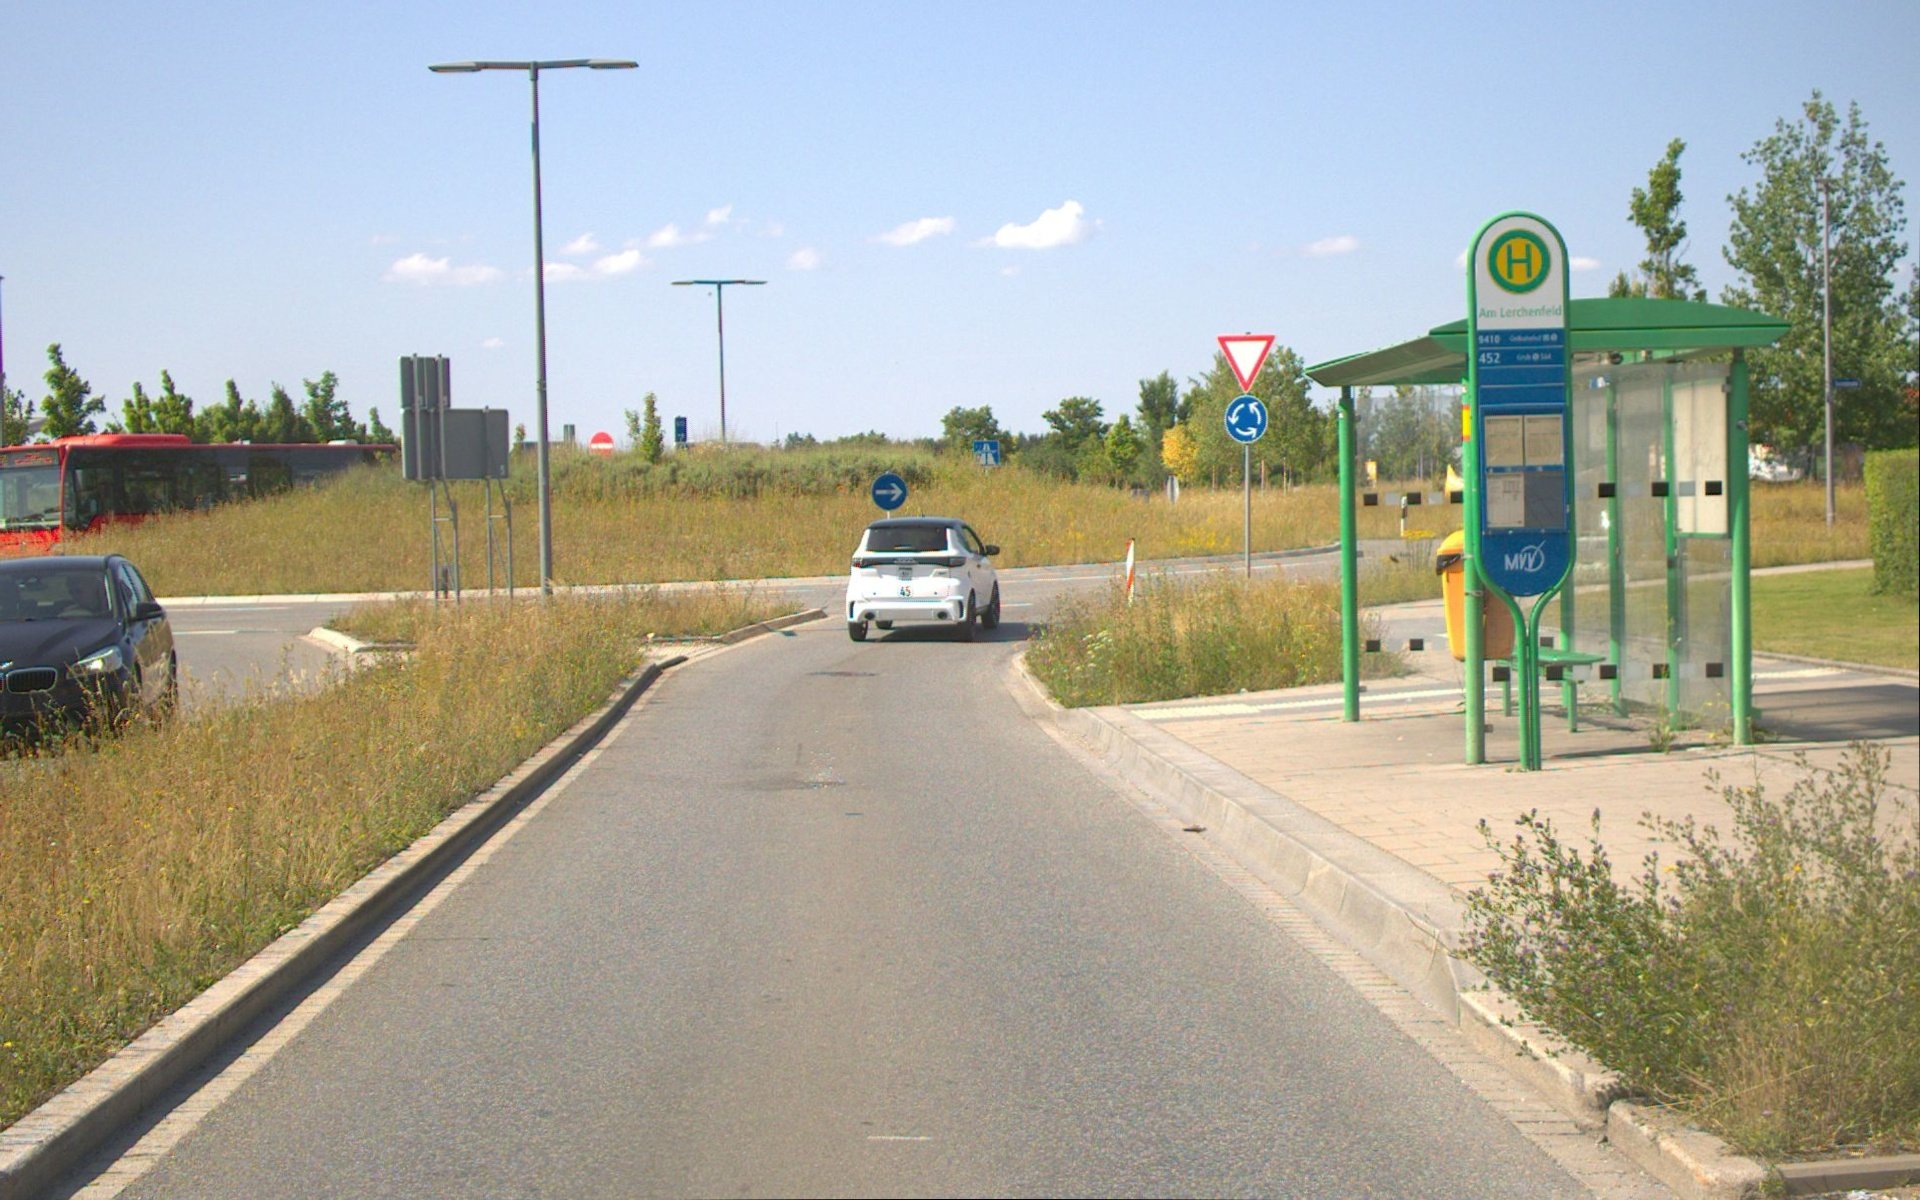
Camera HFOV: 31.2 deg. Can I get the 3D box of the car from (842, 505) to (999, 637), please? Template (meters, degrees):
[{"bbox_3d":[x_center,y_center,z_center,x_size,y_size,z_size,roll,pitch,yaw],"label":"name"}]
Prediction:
[{"bbox_3d":[-0.442,-0.390,42.615,1.617,1.429,3.793,-1,3,4],"label":"car"}]

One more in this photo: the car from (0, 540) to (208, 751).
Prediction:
[{"bbox_3d":[-7.481,0.338,28.211,1.758,1.538,4.241,-3,1,-2],"label":"car"}]

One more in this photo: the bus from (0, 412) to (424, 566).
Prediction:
[{"bbox_3d":[-17.460,-2.680,79.964,2.791,3.068,12.185,-1,3,30],"label":"bus"}]
